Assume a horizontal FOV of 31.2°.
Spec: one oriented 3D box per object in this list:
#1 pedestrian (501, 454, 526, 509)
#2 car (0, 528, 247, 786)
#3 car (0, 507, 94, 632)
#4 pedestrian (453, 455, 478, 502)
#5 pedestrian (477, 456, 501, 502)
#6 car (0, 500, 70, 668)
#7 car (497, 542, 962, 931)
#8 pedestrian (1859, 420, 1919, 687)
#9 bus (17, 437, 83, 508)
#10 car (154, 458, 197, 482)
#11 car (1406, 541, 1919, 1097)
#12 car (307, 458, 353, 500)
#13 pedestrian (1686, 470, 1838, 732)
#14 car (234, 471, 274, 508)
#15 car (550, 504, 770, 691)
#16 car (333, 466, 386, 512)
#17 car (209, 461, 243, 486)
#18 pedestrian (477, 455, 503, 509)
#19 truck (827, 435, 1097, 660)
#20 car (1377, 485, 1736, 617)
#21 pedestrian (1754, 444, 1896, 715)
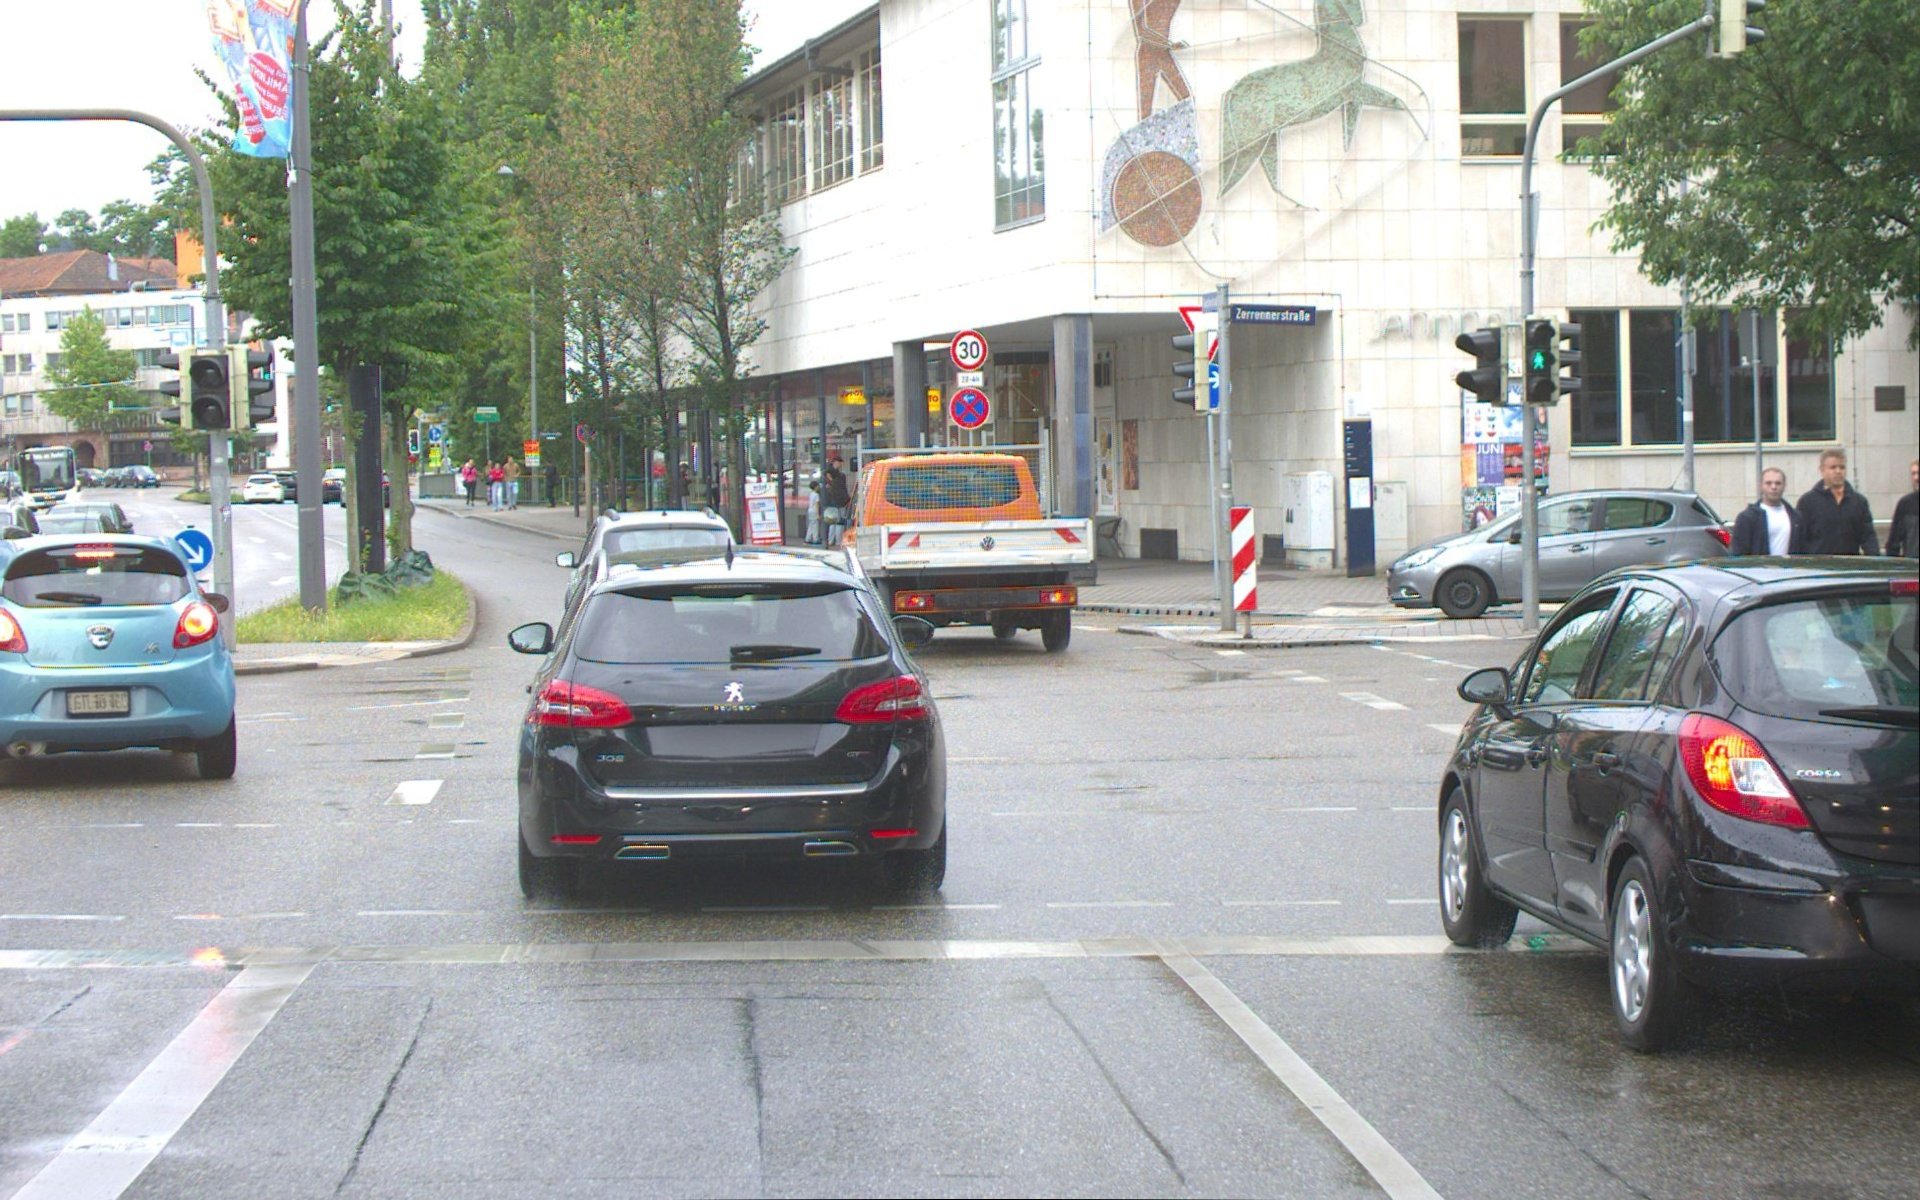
[{"bbox_3d":[-14.996,-3.989,115.464,0.698,1.795,0.607,-3,3,-14],"label":"pedestrian"},{"bbox_3d":[-5.557,0.290,21.809,1.695,1.469,3.691,-1,2,-17],"label":"car"},{"bbox_3d":[-14.064,-0.457,50.320,1.827,1.730,4.311,-2,1,-3],"label":"car"},{"bbox_3d":[-17.438,-4.288,121.294,0.717,1.614,0.770,-3,3,-14],"label":"pedestrian"},{"bbox_3d":[-16.641,-4.266,121.465,0.725,1.584,0.607,-3,3,-14],"label":"pedestrian"},{"bbox_3d":[-10.000,-0.174,33.976,1.622,1.550,3.660,-2,2,-4],"label":"car"},{"bbox_3d":[-0.983,0.499,15.325,1.794,1.478,4.001,0,1,-3],"label":"car"},{"bbox_3d":[6.954,-0.340,24.741,0.732,1.889,0.676,-1,0,-3],"label":"pedestrian"},{"bbox_3d":[-44.036,-6.214,166.185,2.743,3.064,12.243,-2,4,-16],"label":"bus"},{"bbox_3d":[-56.821,-9.419,248.922,1.645,1.559,3.599,1,-1,-39],"label":"car"},{"bbox_3d":[2.655,0.567,11.292,1.708,1.452,3.743,0,2,-3],"label":"car"},{"bbox_3d":[-26.226,-5.042,143.101,1.644,1.559,3.601,1,-1,-14],"label":"car"},{"bbox_3d":[5.584,0.004,23.970,0.748,1.773,0.888,-1,0,-5],"label":"pedestrian"},{"bbox_3d":[-32.248,-5.034,156.989,1.644,1.559,3.601,1,-1,-14],"label":"car"},{"bbox_3d":[-2.732,-0.076,30.699,1.794,1.478,4.001,-2,2,-7],"label":"car"},{"bbox_3d":[-22.324,-4.105,127.718,1.644,1.559,3.601,1,-1,-14],"label":"car"},{"bbox_3d":[-50.934,-8.786,238.503,1.993,1.678,4.002,-2,3,-17],"label":"car"},{"bbox_3d":[-15.754,-3.956,115.249,0.653,1.761,0.923,-3,3,-14],"label":"pedestrian"},{"bbox_3d":[-0.071,-0.547,34.175,2.121,2.018,4.717,-2,2,-6],"label":"truck"},{"bbox_3d":[6.891,-0.575,39.830,3.988,1.471,1.999,0,1,10],"label":"car"},{"bbox_3d":[6.206,-0.148,24.686,0.758,1.895,0.790,-1,0,-2],"label":"pedestrian"}]
